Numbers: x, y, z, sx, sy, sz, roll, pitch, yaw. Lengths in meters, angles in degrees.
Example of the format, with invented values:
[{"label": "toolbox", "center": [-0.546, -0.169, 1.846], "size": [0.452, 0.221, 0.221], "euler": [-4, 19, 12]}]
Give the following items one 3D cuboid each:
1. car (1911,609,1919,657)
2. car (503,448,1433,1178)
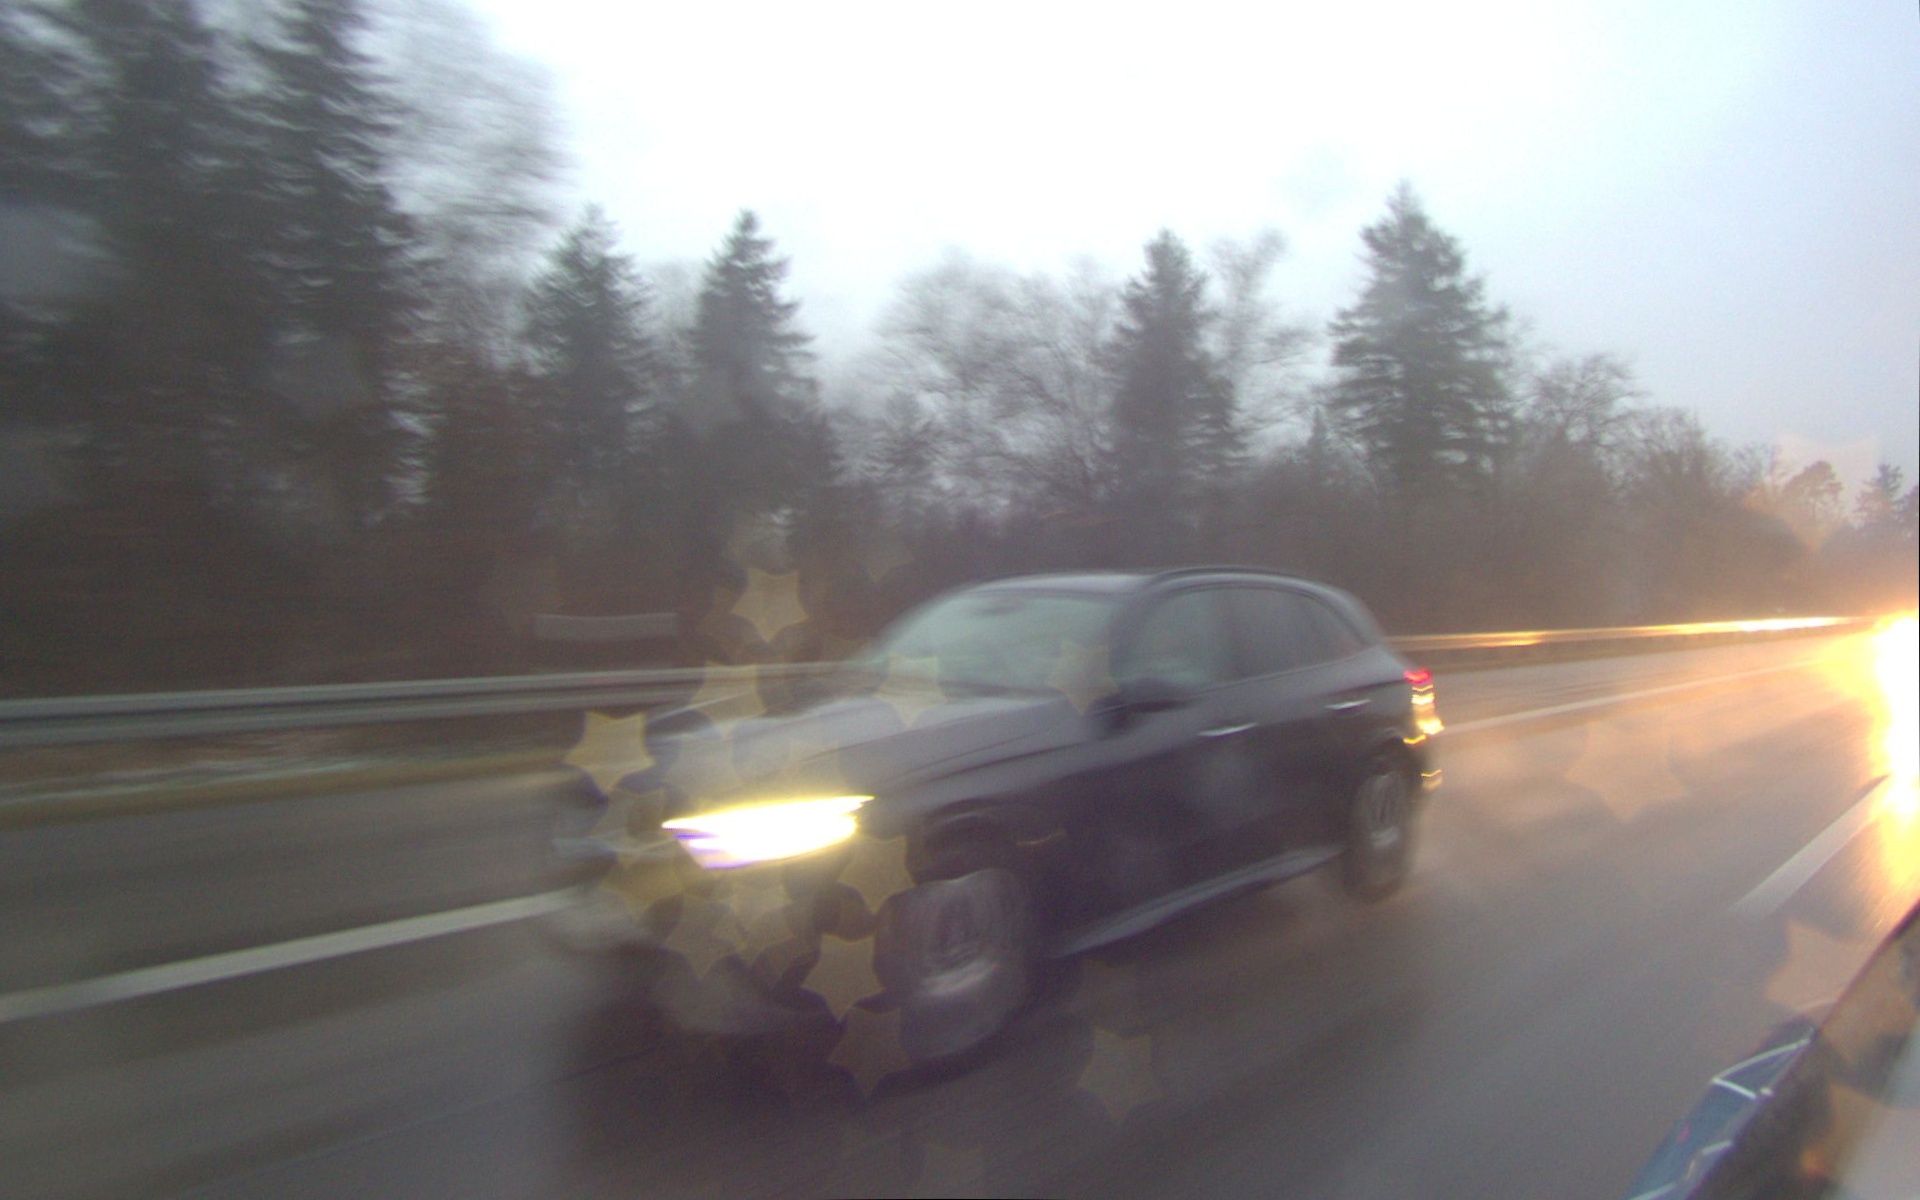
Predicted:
[{"label": "car", "center": [30.046, 0.970, 30.544], "size": [3.246, 1.383, 1.602], "euler": [0, 0, -40]}, {"label": "car", "center": [0.282, 0.501, 4.524], "size": [3.872, 1.814, 1.927], "euler": [-1, 1, -41]}]
